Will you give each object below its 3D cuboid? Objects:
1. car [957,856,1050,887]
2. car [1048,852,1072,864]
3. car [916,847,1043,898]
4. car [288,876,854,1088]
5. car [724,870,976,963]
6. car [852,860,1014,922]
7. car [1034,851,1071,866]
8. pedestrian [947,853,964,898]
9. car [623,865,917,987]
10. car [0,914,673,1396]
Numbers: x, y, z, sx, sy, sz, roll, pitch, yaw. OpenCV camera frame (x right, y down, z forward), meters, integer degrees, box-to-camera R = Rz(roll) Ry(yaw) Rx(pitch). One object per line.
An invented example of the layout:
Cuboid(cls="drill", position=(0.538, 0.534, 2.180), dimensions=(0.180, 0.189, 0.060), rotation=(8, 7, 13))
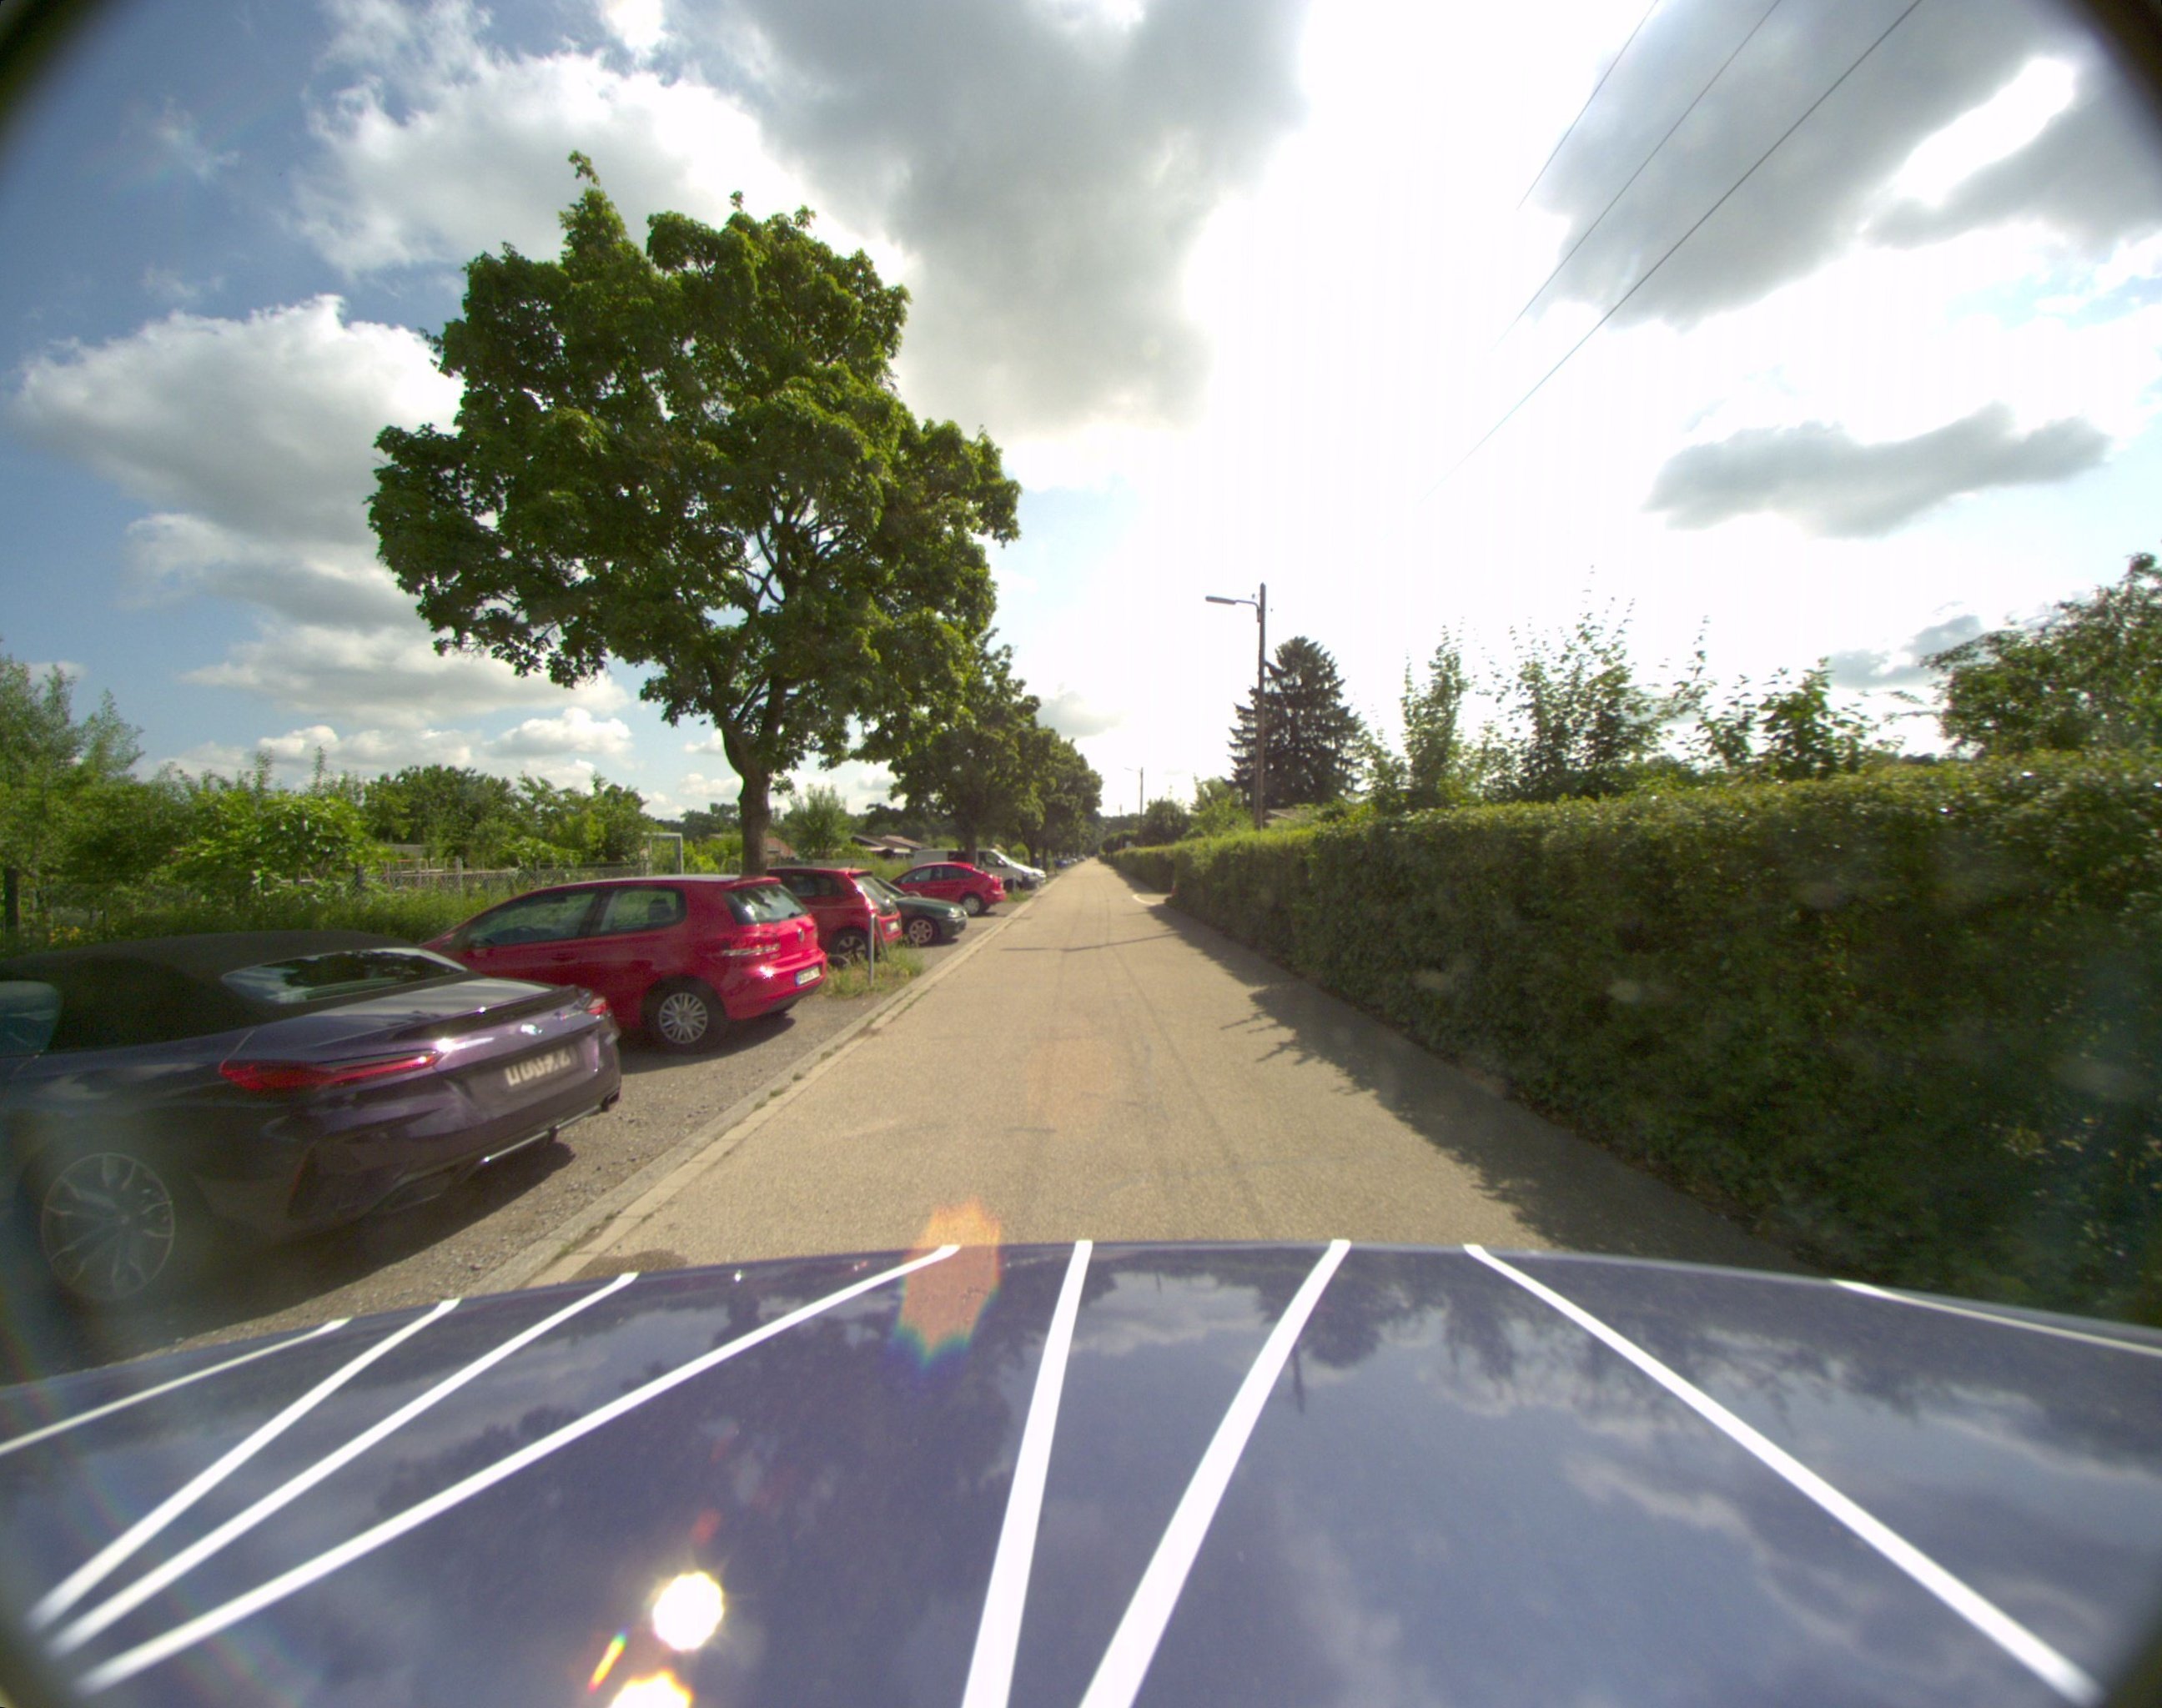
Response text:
Cuboid(cls="car", position=(-3.927, 0.878, 39.264), dimensions=(4.590, 1.457, 1.999), rotation=(-2, 0, -2))
Cuboid(cls="car", position=(-3.574, 0.663, 128.001), dimensions=(3.929, 1.740, 2.000), rotation=(-3, 1, 0))
Cuboid(cls="car", position=(-3.845, 0.688, 29.556), dimensions=(4.646, 1.875, 2.111), rotation=(0, 0, -1))
Cuboid(cls="car", position=(-4.435, 1.080, 7.046), dimensions=(3.996, 1.511, 1.855), rotation=(-3, 1, 4))
Cuboid(cls="car", position=(-4.286, 1.149, 14.695), dimensions=(4.250, 1.420, 1.907), rotation=(-3, 1, -3))
Cuboid(cls="car", position=(-4.185, 1.037, 21.916), dimensions=(4.193, 1.495, 1.878), rotation=(-3, 1, 2))
Cuboid(cls="car", position=(-3.279, 0.525, 87.851), dimensions=(4.116, 1.573, 1.781), rotation=(-1, 0, -1))
Cuboid(cls="pedestrian", position=(-4.653, 0.784, 28.248), dimensions=(0.524, 1.664, 0.474), rotation=(0, 2, 2))
Cuboid(cls="car", position=(-4.723, 1.056, 11.977), dimensions=(3.773, 1.564, 1.869), rotation=(-3, 1, 0))
Cuboid(cls="car", position=(-4.453, 1.158, 3.602), dimensions=(3.919, 1.415, 1.958), rotation=(-3, 1, 4))
